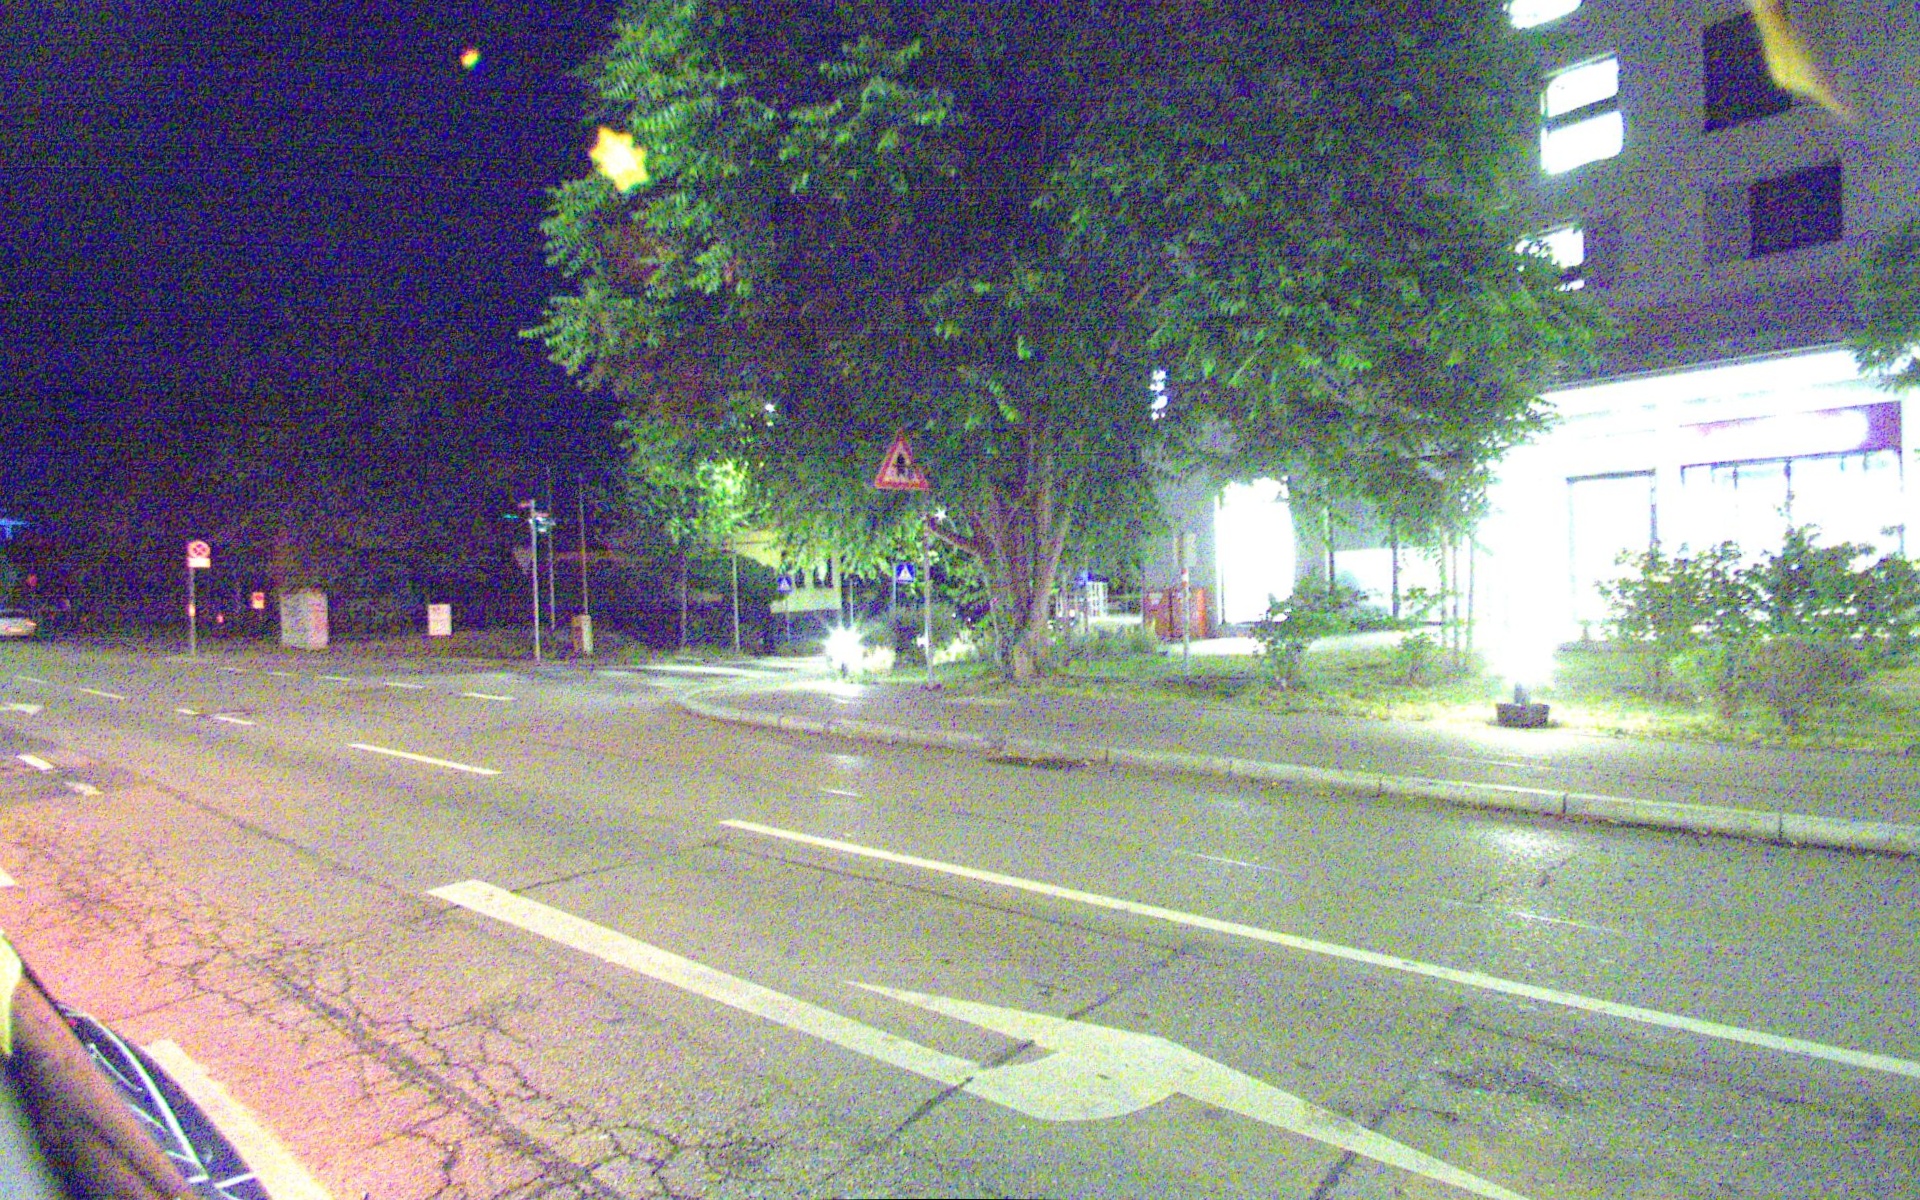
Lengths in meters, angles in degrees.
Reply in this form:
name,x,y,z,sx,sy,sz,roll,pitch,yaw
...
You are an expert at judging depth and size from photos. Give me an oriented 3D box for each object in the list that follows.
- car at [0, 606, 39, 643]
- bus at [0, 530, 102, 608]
name,x,y,z,sx,sy,sz,roll,pitch,yaw
car,-43.159,1.097,45.658,3.996,1.604,1.784,-1,0,39
bus,-88.539,-2.759,98.106,14.776,6.990,6.056,-1,0,41
